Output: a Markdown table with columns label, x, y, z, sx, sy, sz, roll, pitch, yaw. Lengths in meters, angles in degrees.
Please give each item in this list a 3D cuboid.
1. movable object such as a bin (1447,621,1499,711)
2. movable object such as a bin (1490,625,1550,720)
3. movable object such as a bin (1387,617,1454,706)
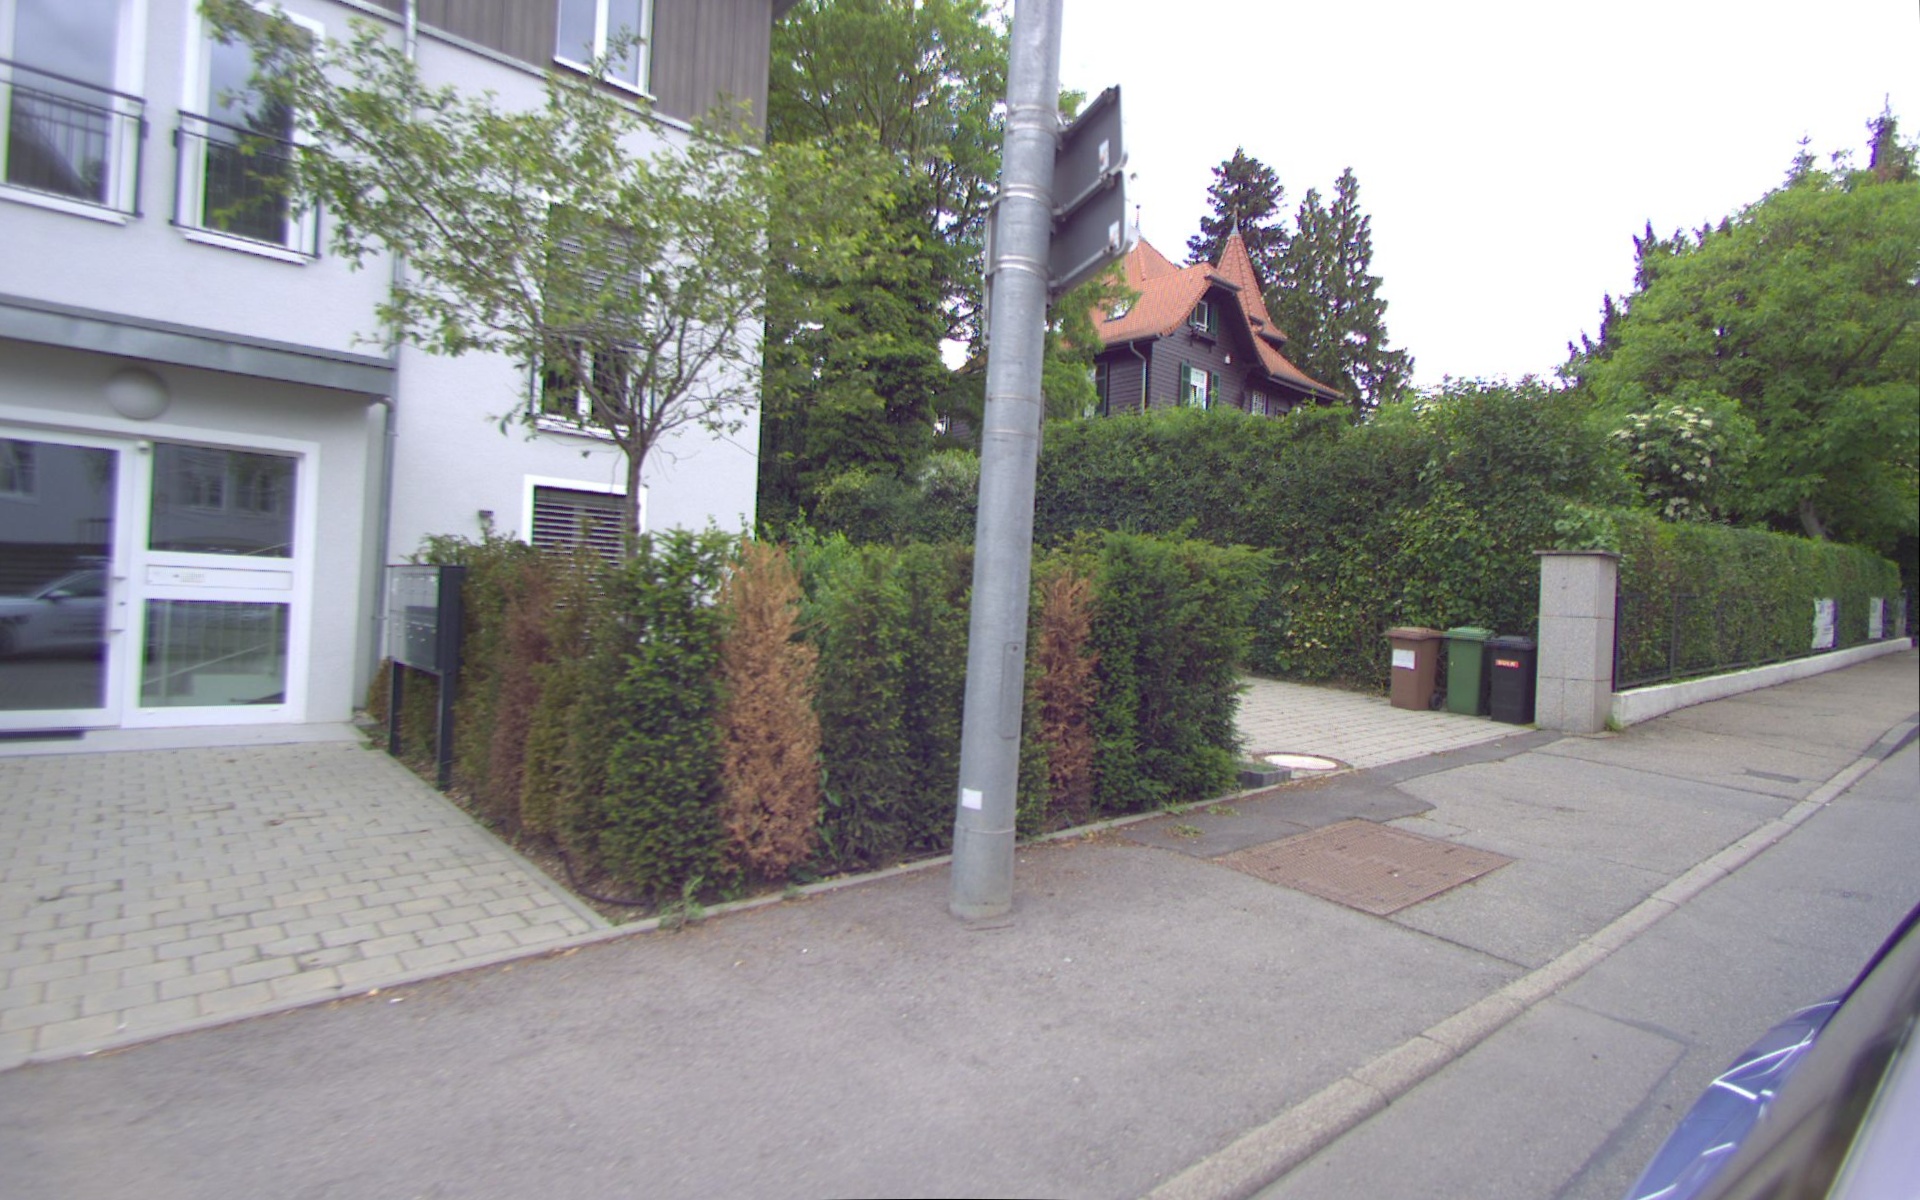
| label | x | y | z | sx | sy | sz | roll | pitch | yaw |
| --- | --- | --- | --- | --- | --- | --- | --- | --- | --- |
| movable object such as a bin | 5.766 | 0.720 | 11.362 | 0.463 | 0.950 | 0.598 | 1 | 0 | 32 |
| movable object such as a bin | 6.014 | 0.760 | 10.859 | 0.464 | 0.950 | 0.596 | 1 | 0 | 39 |
| movable object such as a bin | 5.234 | 0.681 | 11.506 | 0.594 | 0.949 | 0.465 | 1 | 2 | -43 |
